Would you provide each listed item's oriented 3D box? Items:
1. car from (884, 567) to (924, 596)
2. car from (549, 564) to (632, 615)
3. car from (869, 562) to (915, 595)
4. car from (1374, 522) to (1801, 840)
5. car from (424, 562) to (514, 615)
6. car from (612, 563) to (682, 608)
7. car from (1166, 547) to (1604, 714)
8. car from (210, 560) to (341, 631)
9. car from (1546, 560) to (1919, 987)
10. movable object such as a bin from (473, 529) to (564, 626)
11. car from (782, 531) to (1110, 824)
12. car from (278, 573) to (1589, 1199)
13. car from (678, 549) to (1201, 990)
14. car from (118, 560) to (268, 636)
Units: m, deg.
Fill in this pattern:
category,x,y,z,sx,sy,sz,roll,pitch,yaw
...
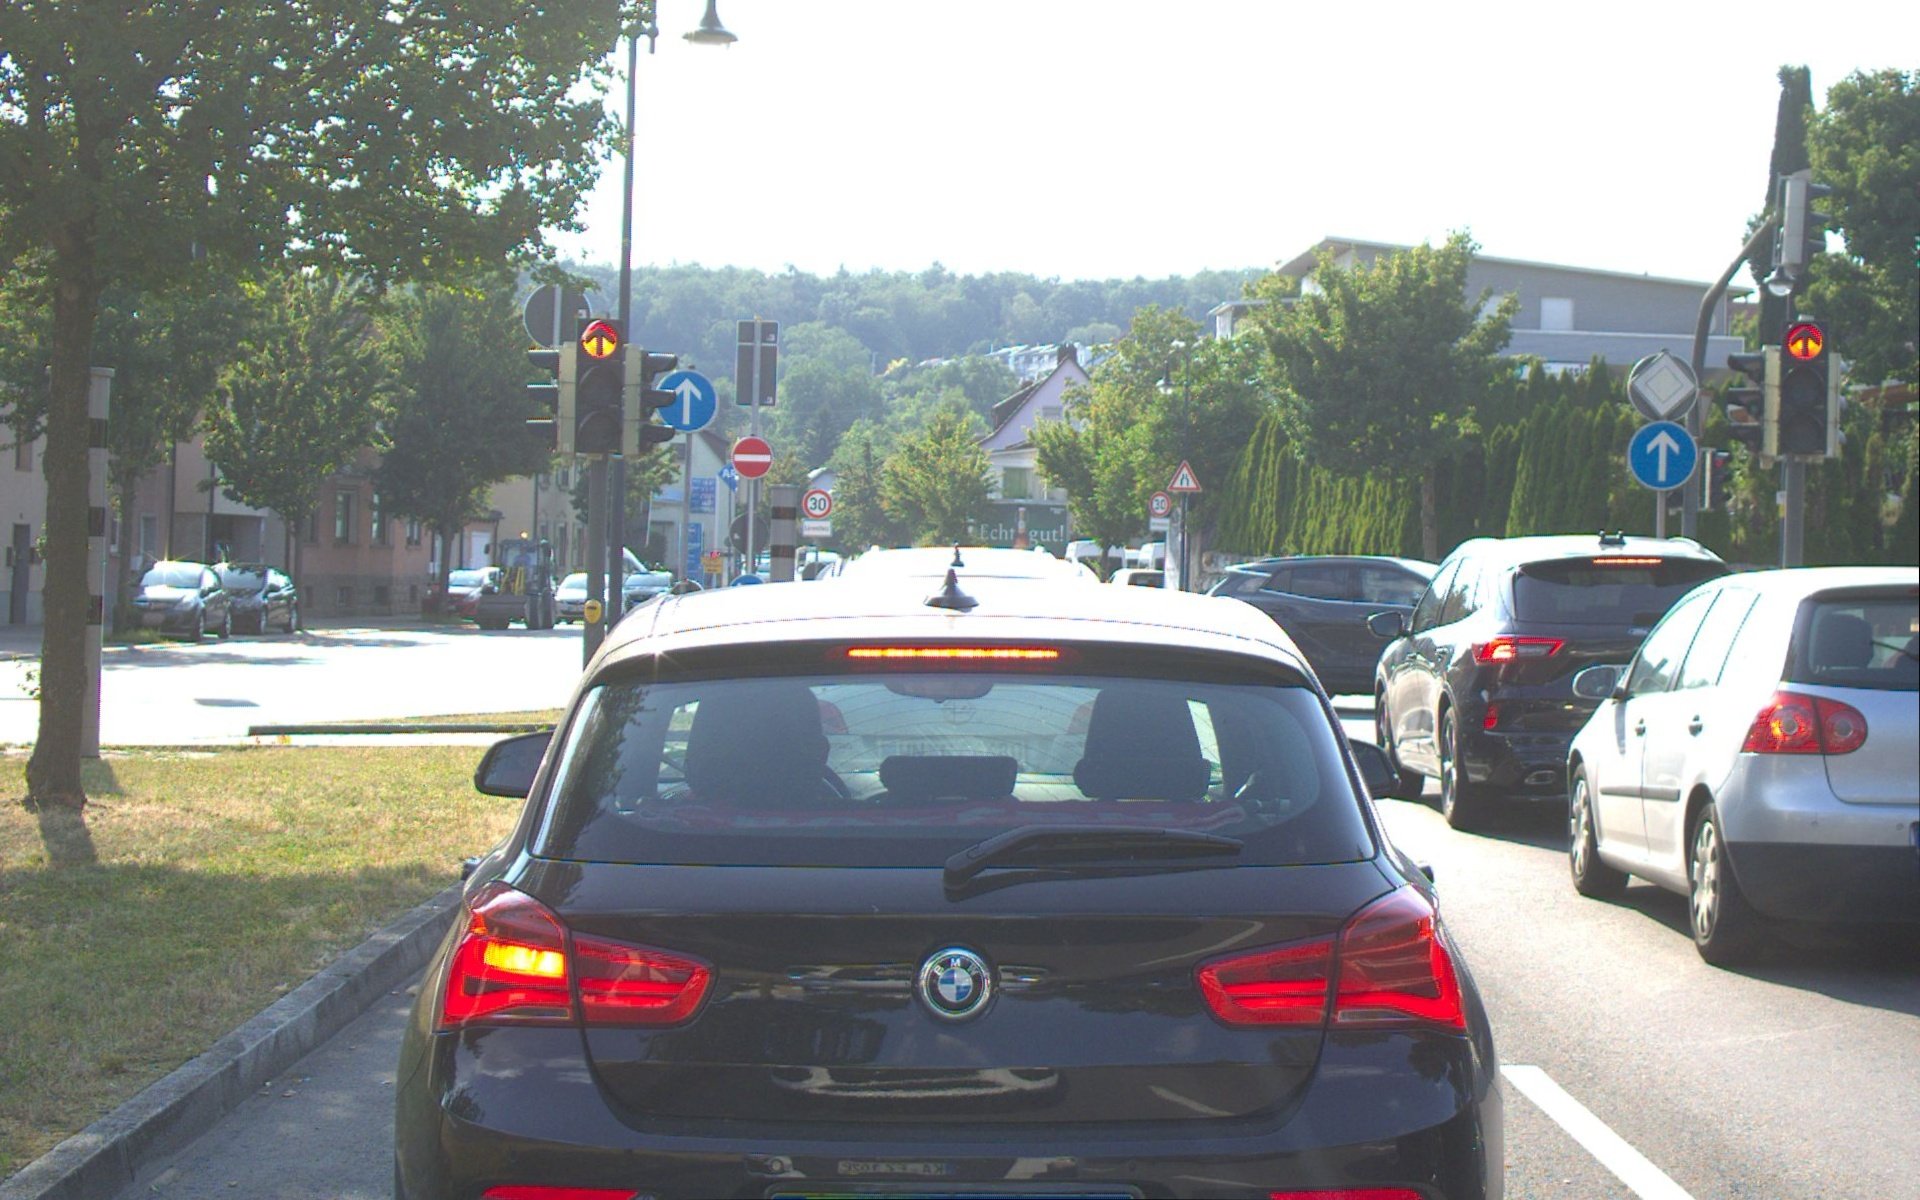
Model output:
category,x,y,z,sx,sy,sz,roll,pitch,yaw
car,-2.902,-0.952,177.831,1.737,1.296,3.799,5,1,2
car,-10.755,-0.333,100.280,1.737,1.296,3.799,5,1,2
car,-3.029,-0.977,154.101,1.737,1.296,3.799,5,1,2
car,3.535,0.395,20.023,1.761,1.650,3.903,-1,1,0
car,-13.857,-0.347,97.163,1.737,1.296,3.799,5,1,2
car,-10.385,-0.486,114.383,1.737,1.296,3.799,5,1,2
car,4.511,0.292,36.470,4.207,1.674,1.968,0,1,25
car,-14.525,-0.117,73.139,1.737,1.296,4.000,5,1,2
car,3.562,0.573,13.741,1.761,1.421,3.903,-1,1,0
movable object such as a bin,-11.367,-0.589,88.705,1.736,2.433,4.450,0,1,0
car,-0.074,0.390,21.043,1.788,1.588,4.281,-1,1,0
car,-0.030,0.674,6.858,1.788,1.393,4.281,-1,1,0
car,-0.067,0.554,14.003,1.788,1.488,4.281,-1,1,0
car,-14.935,-0.064,67.151,1.737,1.296,4.000,5,1,3
